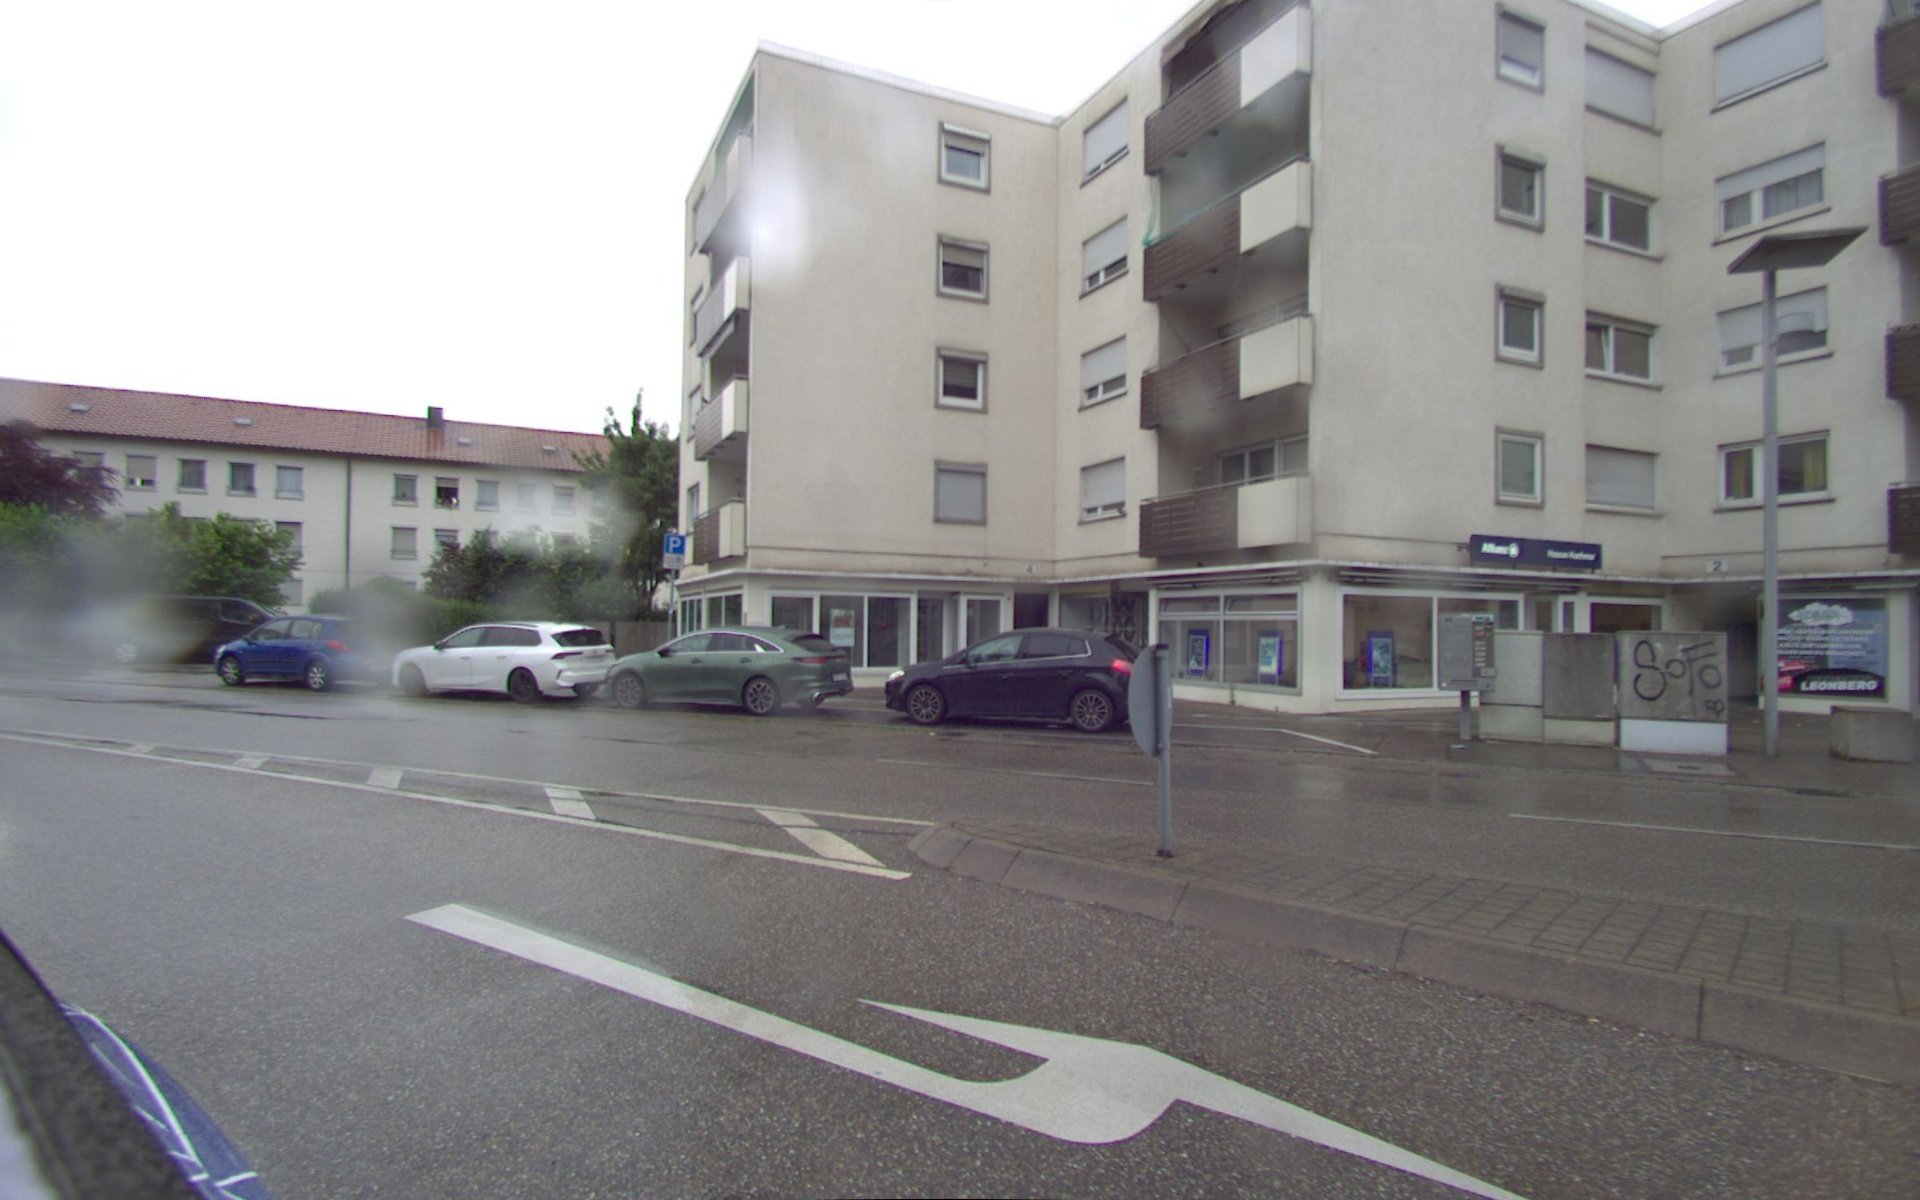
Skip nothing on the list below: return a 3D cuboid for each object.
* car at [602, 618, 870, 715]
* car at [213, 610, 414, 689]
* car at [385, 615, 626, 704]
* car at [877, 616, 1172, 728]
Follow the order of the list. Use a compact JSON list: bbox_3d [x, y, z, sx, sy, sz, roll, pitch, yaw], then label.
[{"bbox_3d":[-3.851,1.077,17.465,4.243,1.445,1.825,0,0,21],"label":"car"},{"bbox_3d":[-13.712,1.012,21.477,3.853,1.517,1.623,0,-1,22],"label":"car"},{"bbox_3d":[-8.693,1.078,19.349,4.315,1.511,1.626,0,-1,21],"label":"car"},{"bbox_3d":[1.000,1.013,15.459,4.158,1.471,1.825,0,0,21],"label":"car"}]
